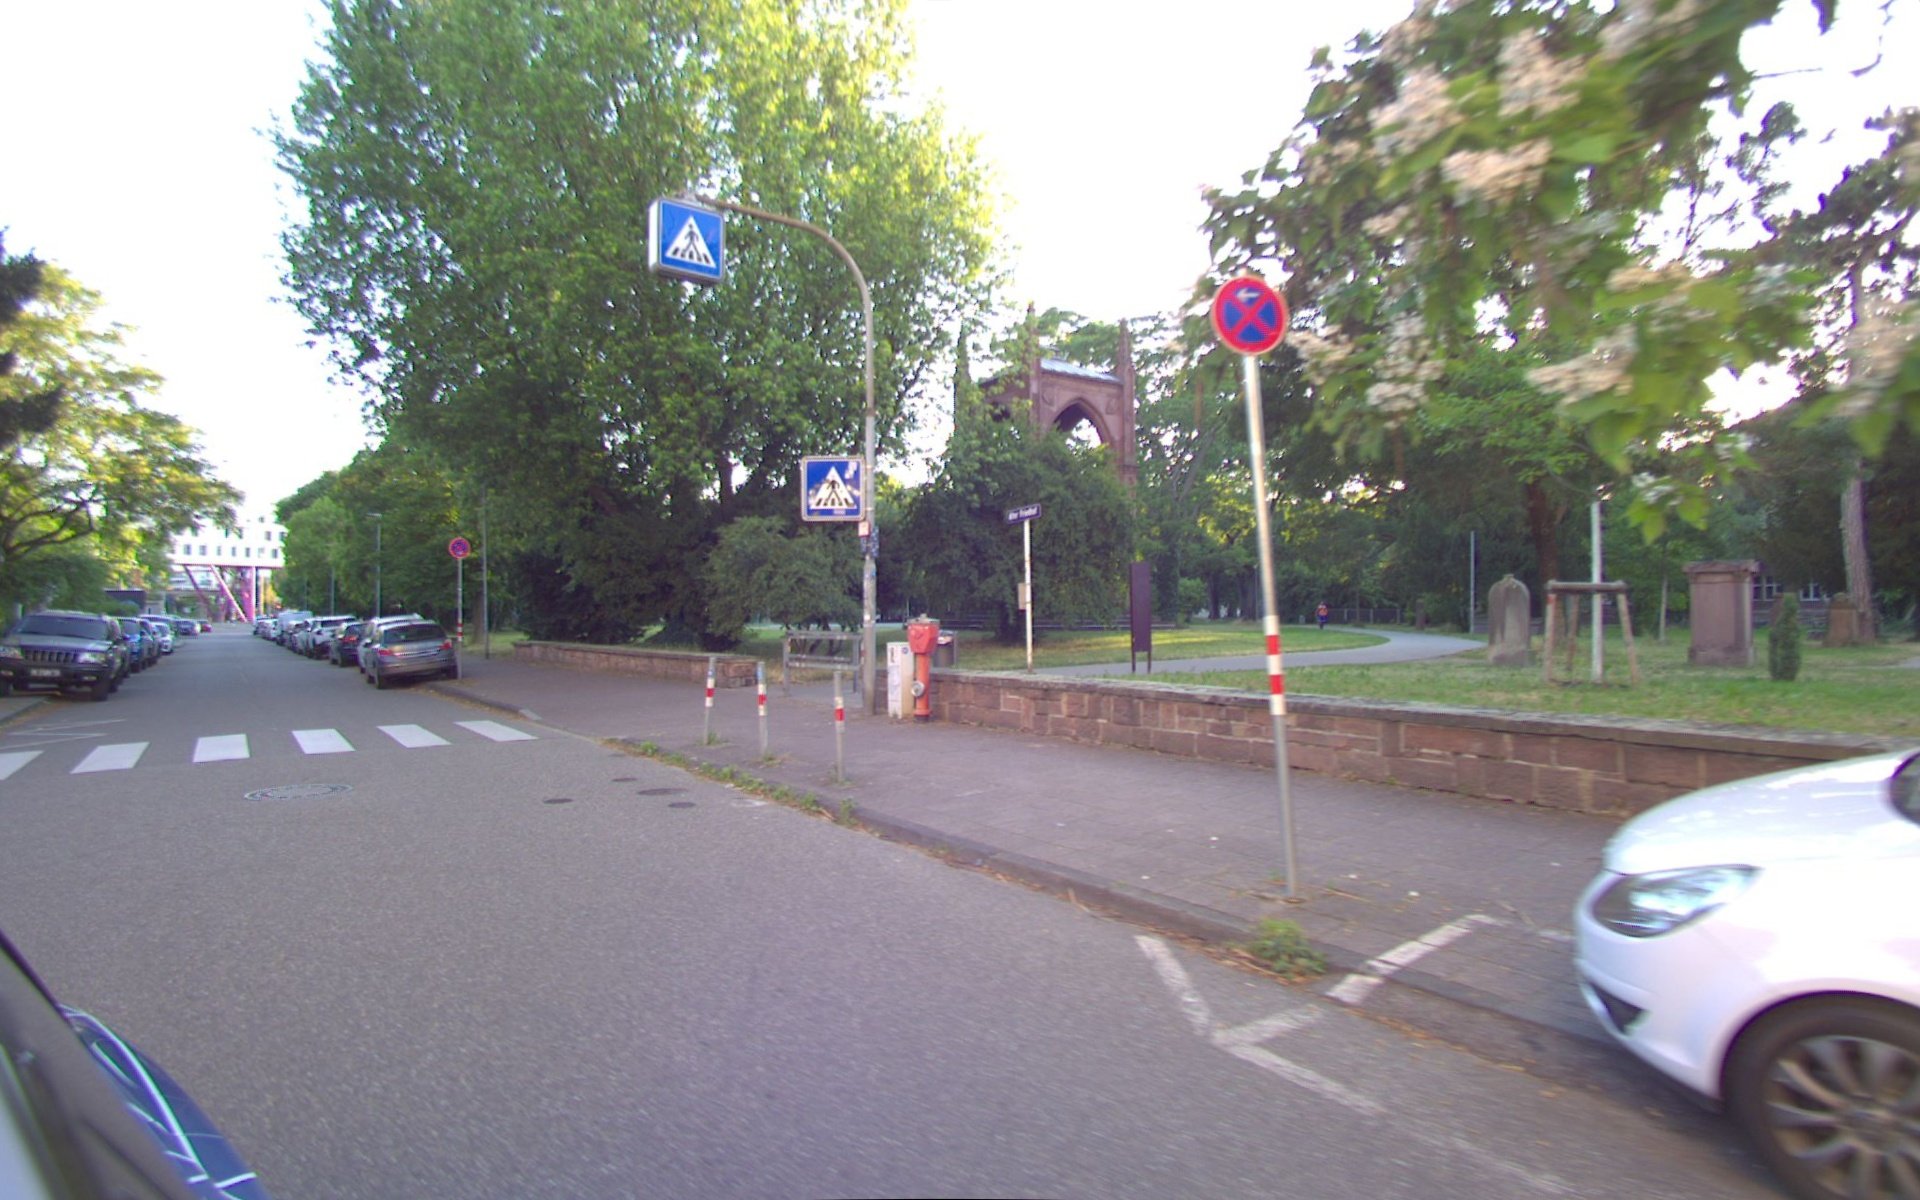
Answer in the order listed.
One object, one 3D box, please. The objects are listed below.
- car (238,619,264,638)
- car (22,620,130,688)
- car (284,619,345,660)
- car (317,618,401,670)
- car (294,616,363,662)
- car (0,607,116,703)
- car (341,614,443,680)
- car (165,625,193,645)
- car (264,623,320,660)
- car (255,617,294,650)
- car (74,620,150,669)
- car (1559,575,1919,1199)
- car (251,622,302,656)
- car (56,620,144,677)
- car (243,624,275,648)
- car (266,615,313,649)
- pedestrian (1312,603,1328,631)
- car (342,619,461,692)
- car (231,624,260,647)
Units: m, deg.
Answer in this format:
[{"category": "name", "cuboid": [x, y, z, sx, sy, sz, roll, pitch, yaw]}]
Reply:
[{"category": "car", "cuboid": [-73.406, 2.984, 104.771, 1.760, 1.796, 4.019, -6, 2, -39]}, {"category": "car", "cuboid": [-21.836, 1.331, 25.125, 1.759, 1.511, 3.891, 6, -5, -39]}, {"category": "car", "cuboid": [-28.993, 1.763, 45.436, 1.760, 1.583, 3.891, -6, 2, -39]}, {"category": "car", "cuboid": [-20.193, 1.454, 33.948, 1.760, 1.487, 3.891, -6, 2, -39]}, {"category": "car", "cuboid": [-25.270, 1.528, 40.445, 1.760, 1.583, 3.891, -6, 2, -39]}, {"category": "car", "cuboid": [-18.299, 1.089, 20.470, 1.759, 1.767, 3.891, 4, -4, -39]}, {"category": "car", "cuboid": [-16.078, 1.289, 28.546, 1.760, 1.589, 3.891, -6, 2, -39]}, {"category": "car", "cuboid": [-71.660, 3.171, 92.879, 1.968, 1.763, 4.007, 0, -1, -39]}, {"category": "car", "cuboid": [-32.420, 1.989, 49.074, 1.760, 1.583, 3.891, -6, 2, -39]}, {"category": "car", "cuboid": [-47.617, 2.310, 70.304, 1.760, 2.051, 3.891, -6, 2, -39]}, {"category": "car", "cuboid": [-28.591, 1.495, 34.202, 1.759, 1.511, 3.891, 6, -5, -39]}, {"category": "car", "cuboid": [3.639, 0.672, 1.985, 1.642, 1.526, 3.889, -3, 0, -42]}, {"category": "car", "cuboid": [-36.055, 2.049, 53.361, 1.760, 1.583, 3.891, -6, 2, -39]}, {"category": "car", "cuboid": [-25.291, 1.413, 29.872, 1.759, 1.511, 3.891, 6, -5, -39]}, {"category": "car", "cuboid": [-57.269, 2.936, 82.642, 1.760, 1.808, 3.891, -6, 2, -39]}, {"category": "car", "cuboid": [-41.067, 1.949, 61.957, 1.935, 1.850, 3.891, -6, 2, -39]}, {"category": "pedestrian", "cuboid": [22.154, 1.041, 62.267, 0.656, 1.681, 0.668, 0, 0, -15]}, {"category": "car", "cuboid": [-13.512, 1.283, 24.394, 1.760, 1.461, 3.891, -6, 2, -39]}, {"category": "car", "cuboid": [-63.818, 3.173, 90.383, 1.760, 1.796, 4.019, -6, 2, -39]}]
